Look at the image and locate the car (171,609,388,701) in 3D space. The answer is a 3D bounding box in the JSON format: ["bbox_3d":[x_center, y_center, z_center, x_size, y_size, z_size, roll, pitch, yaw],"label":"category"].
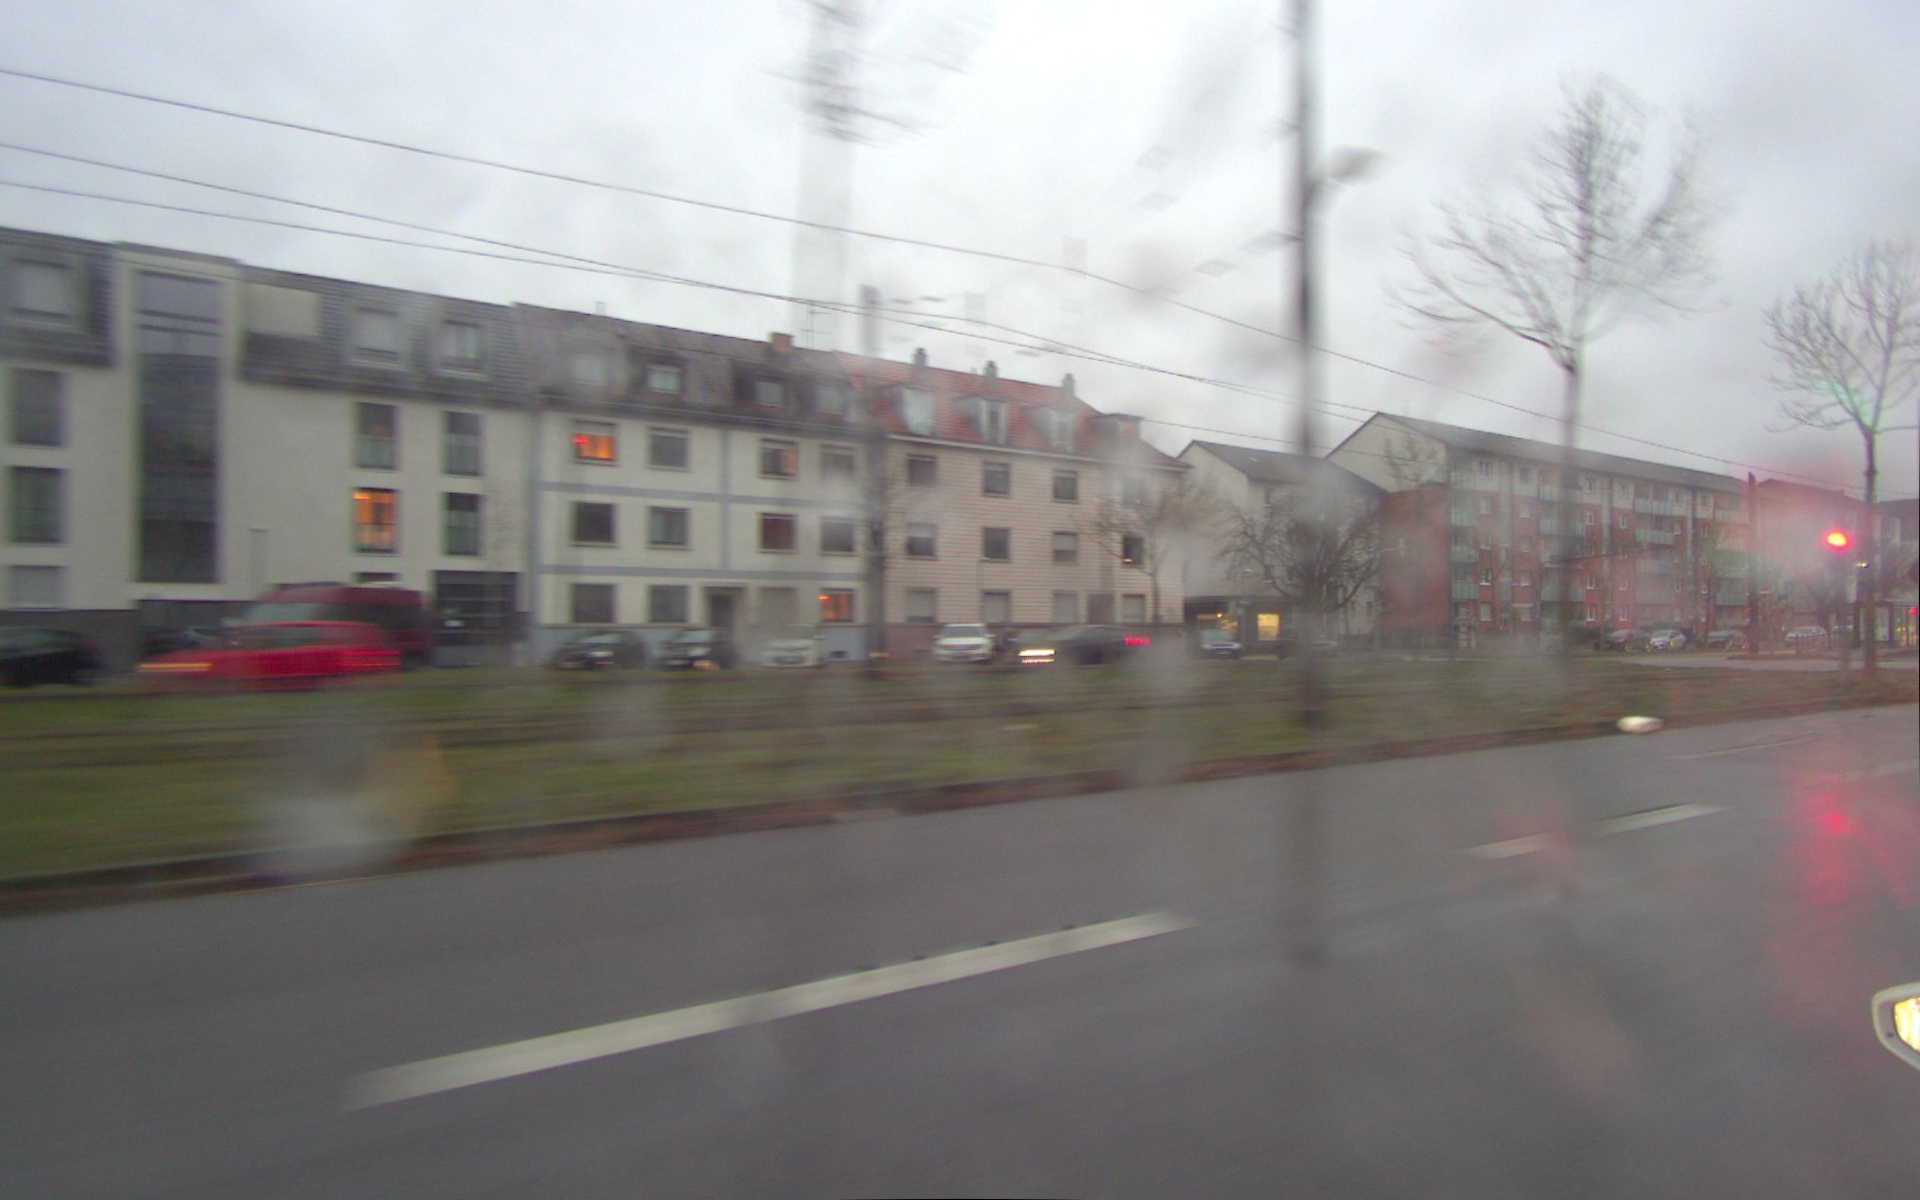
[{"bbox_3d":[-13.500,1.044,20.149,3.470,1.645,1.604,1,1,-33],"label":"car"}]

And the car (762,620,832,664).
[{"bbox_3d":[-5.092,1.296,31.801,1.658,1.163,3.418,1,1,-1],"label":"car"}]

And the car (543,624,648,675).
[{"bbox_3d":[-10.413,1.371,28.946,1.713,1.228,3.540,1,1,-1],"label":"car"}]

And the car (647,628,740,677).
[{"bbox_3d":[-7.929,1.540,30.167,1.845,1.216,3.540,1,1,-1],"label":"car"}]

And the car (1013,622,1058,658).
[{"bbox_3d":[2.755,1.444,37.265,1.370,1.163,3.044,1,1,-1],"label":"car"}]

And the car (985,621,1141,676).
[{"bbox_3d":[3.247,1.447,31.225,4.739,1.523,1.869,1,1,-34],"label":"car"}]

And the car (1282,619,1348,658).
[{"bbox_3d":[16.223,1.726,46.095,1.708,1.576,3.798,1,1,1],"label":"car"}]

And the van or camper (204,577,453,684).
[{"bbox_3d":[-16.041,0.668,26.196,1.960,2.391,6.882,1,1,2],"label":"van or camper"}]

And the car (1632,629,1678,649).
[{"bbox_3d":[47.738,2.643,68.977,3.350,1.304,1.436,1,1,-34],"label":"car"}]

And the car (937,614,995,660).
[{"bbox_3d":[0.264,1.260,35.728,1.737,1.397,4.126,1,1,5],"label":"car"}]

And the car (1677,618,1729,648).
[{"bbox_3d":[55.009,2.414,74.358,3.962,2.041,1.979,1,1,-36],"label":"car"}]

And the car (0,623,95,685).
[{"bbox_3d":[-20.746,1.159,21.729,1.360,1.220,2.890,1,1,9],"label":"car"}]

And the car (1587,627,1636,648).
[{"bbox_3d":[42.518,2.443,65.552,3.350,1.304,1.436,1,1,-34],"label":"car"}]

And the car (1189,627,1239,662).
[{"bbox_3d":[10.819,1.881,42.960,1.424,1.355,3.769,0,-1,4],"label":"car"}]

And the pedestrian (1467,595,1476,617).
[{"bbox_3d":[28.400,0.317,55.752,0.339,1.200,0.434,1,1,17],"label":"pedestrian"}]
